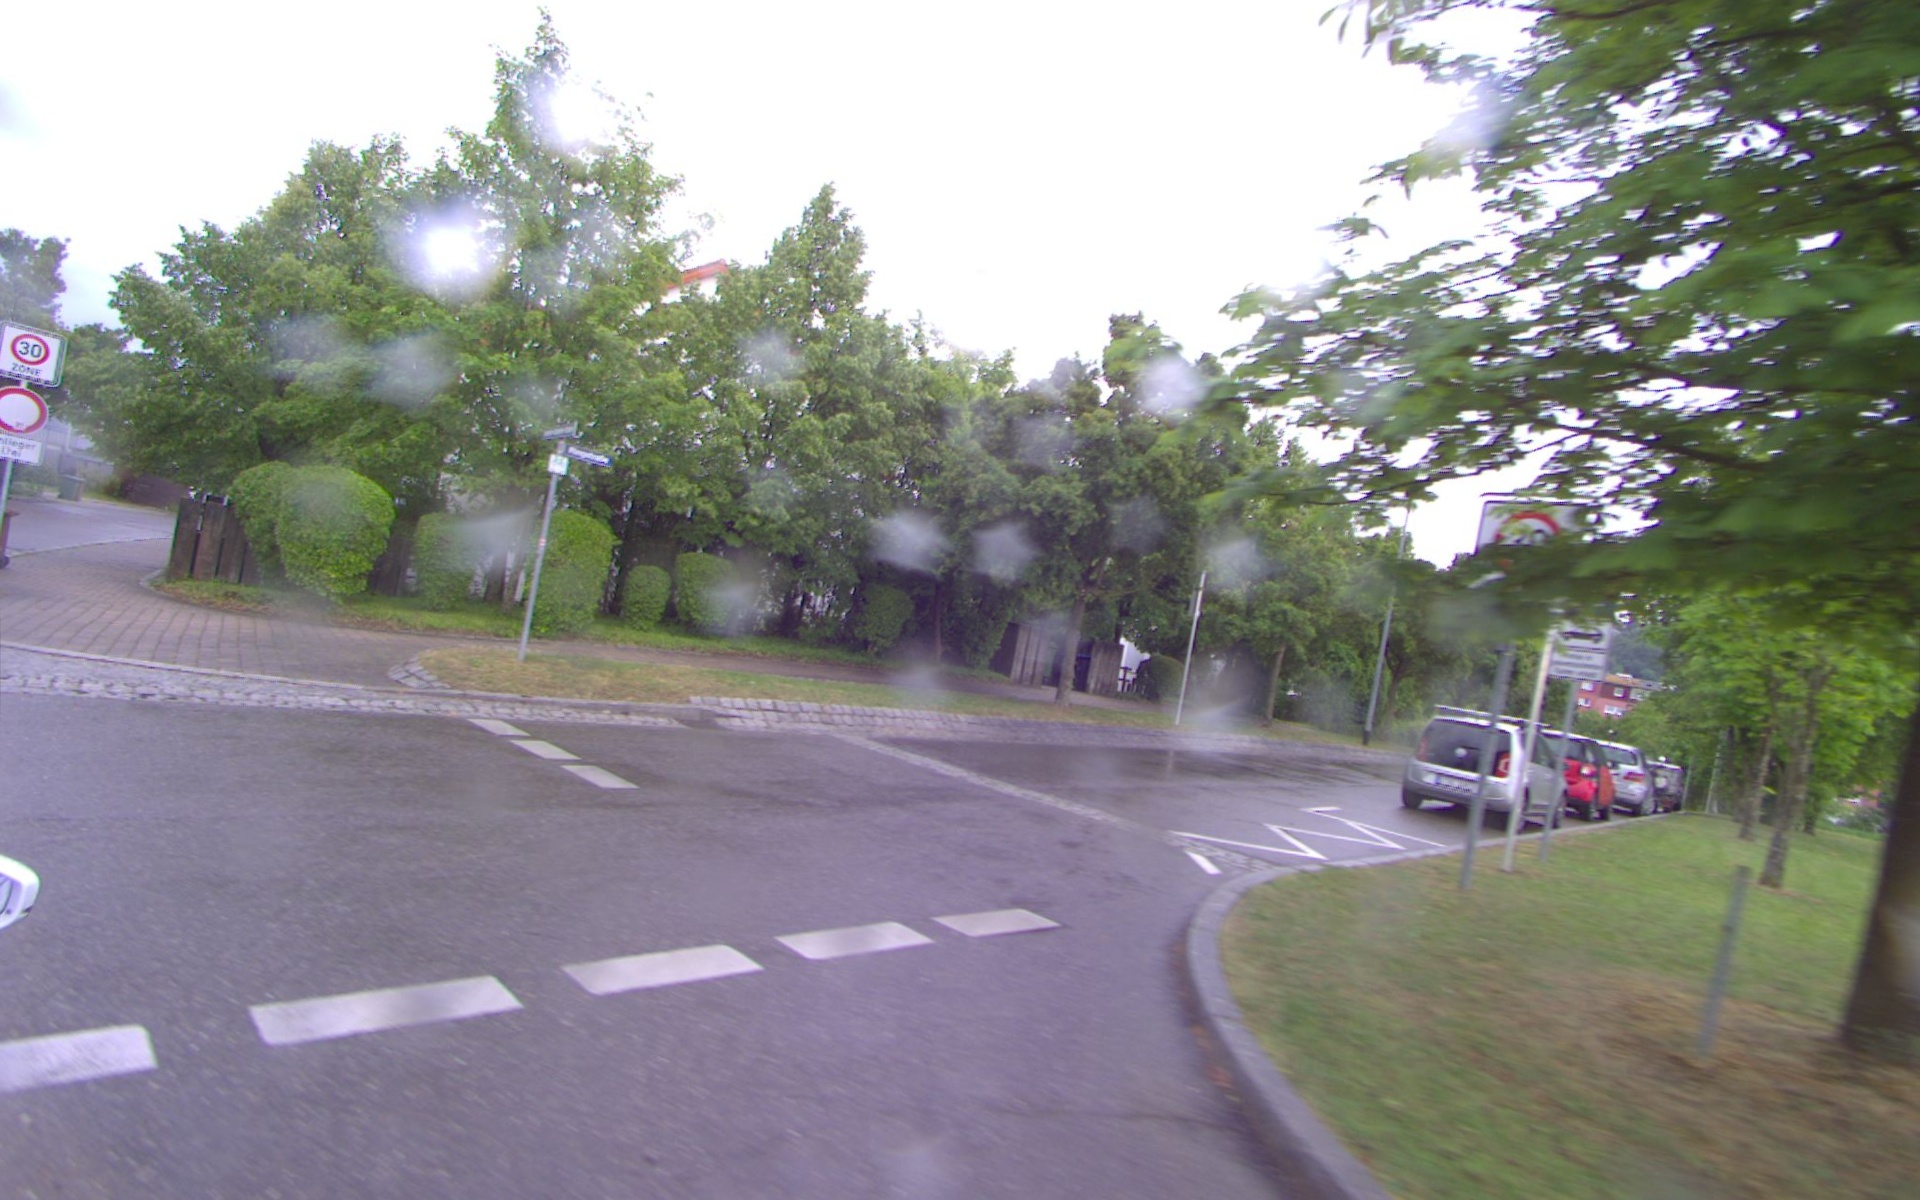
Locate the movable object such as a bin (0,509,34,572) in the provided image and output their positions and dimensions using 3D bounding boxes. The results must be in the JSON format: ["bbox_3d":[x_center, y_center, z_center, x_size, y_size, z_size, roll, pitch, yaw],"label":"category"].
[{"bbox_3d":[-15.235,-0.962,15.966,0.567,0.941,0.526,10,-1,-30],"label":"movable object such as a bin"}]

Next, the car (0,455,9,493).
[{"bbox_3d":[-42.468,-5.672,41.804,3.974,1.585,1.888,12,-2,-39],"label":"car"}]

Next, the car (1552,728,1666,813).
[{"bbox_3d":[15.986,4.179,24.679,1.824,1.569,3.981,9,-2,39],"label":"car"}]

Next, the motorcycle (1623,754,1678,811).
[{"bbox_3d":[19.191,5.062,27.930,0.956,1.316,2.260,10,-2,38],"label":"motorcycle"}]

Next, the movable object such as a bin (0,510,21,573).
[{"bbox_3d":[-14.964,-0.931,15.457,0.567,0.941,0.526,10,-1,-30],"label":"movable object such as a bin"}]

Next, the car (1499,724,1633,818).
[{"bbox_3d":[12.079,3.407,19.995,1.533,1.452,2.999,8,-2,44],"label":"car"}]

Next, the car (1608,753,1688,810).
[{"bbox_3d":[21.184,5.550,30.925,1.707,1.295,3.320,9,-1,38],"label":"car"}]

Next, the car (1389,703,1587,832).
[{"bbox_3d":[8.250,2.579,15.591,1.658,1.496,3.538,8,-2,44],"label":"car"}]

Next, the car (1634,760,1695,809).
[{"bbox_3d":[31.379,8.243,44.828,1.931,1.623,3.997,10,-4,36],"label":"car"}]
